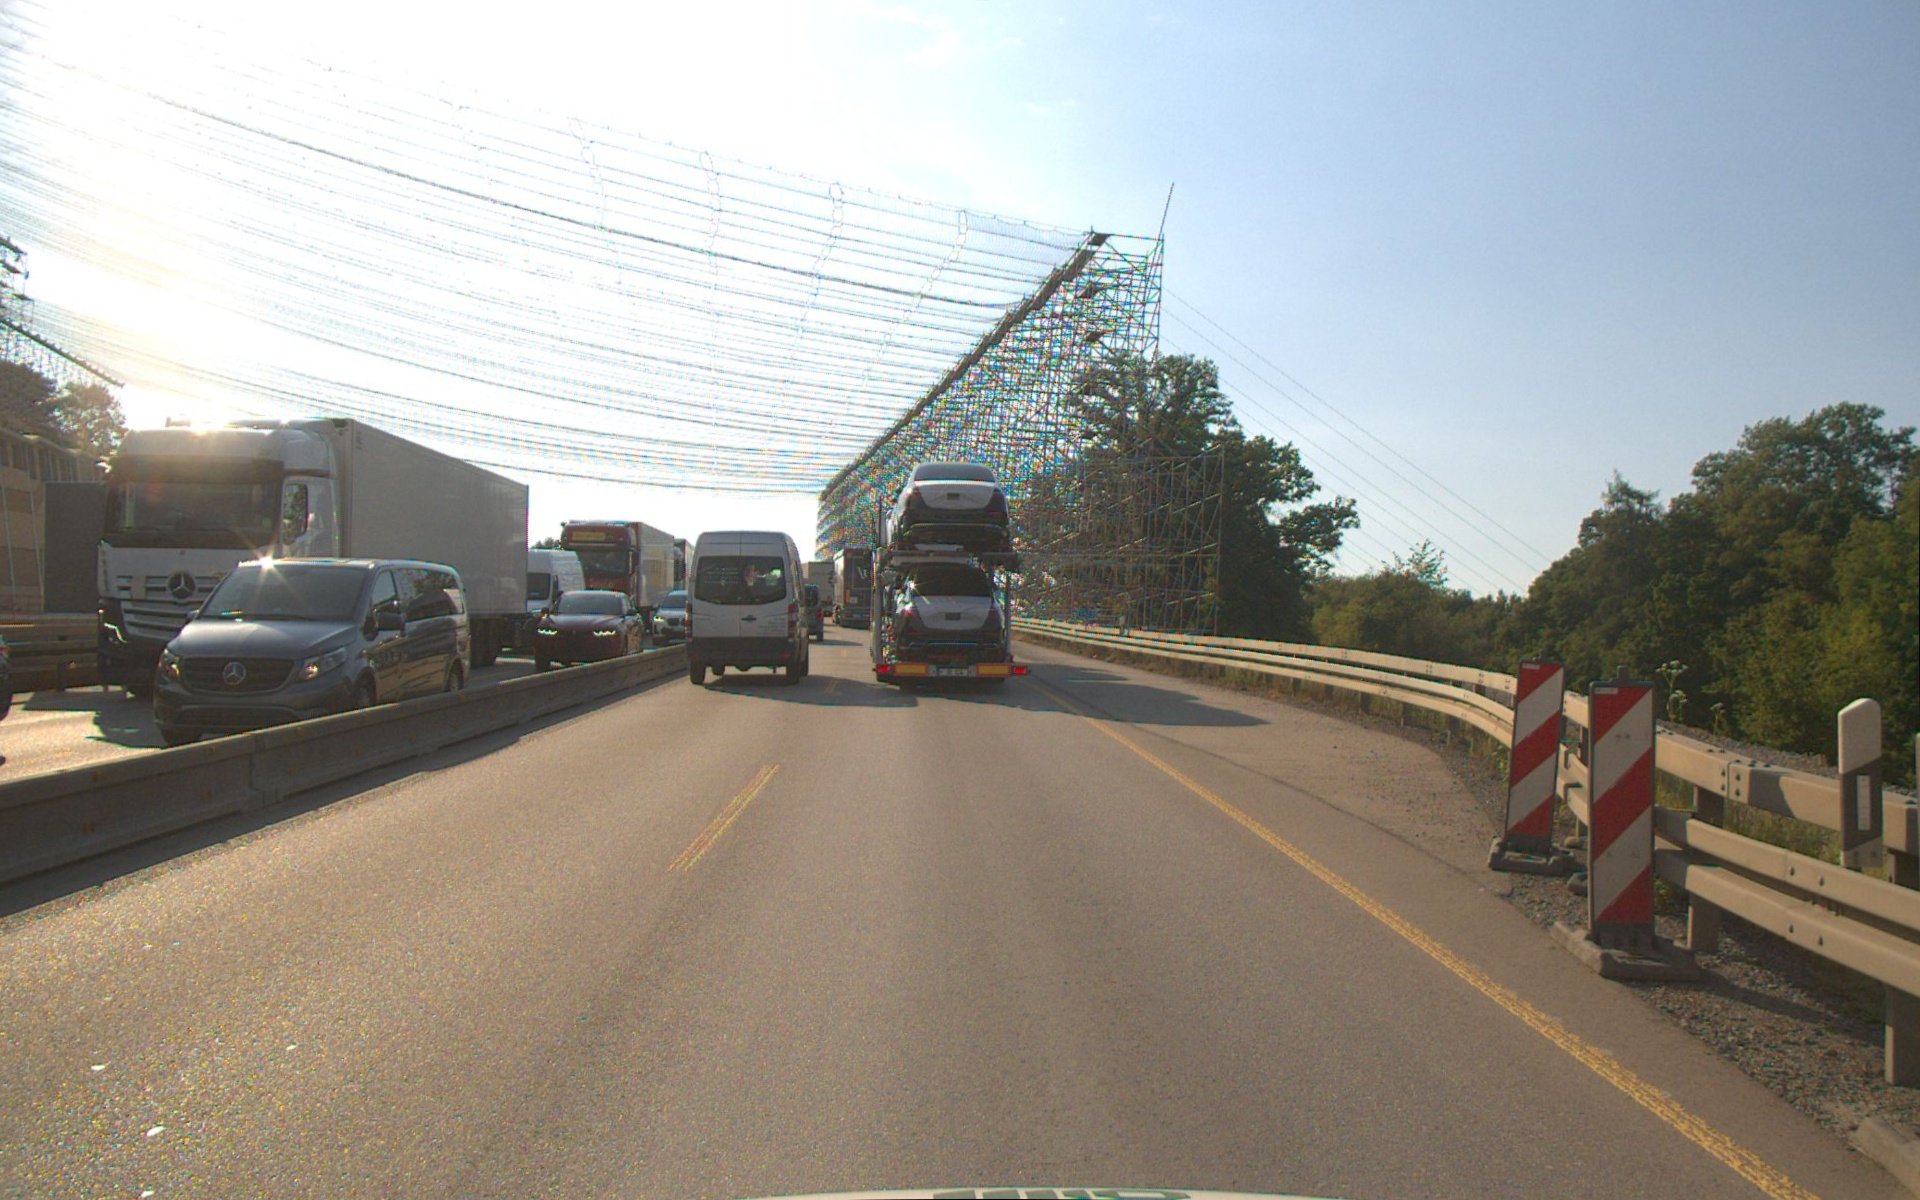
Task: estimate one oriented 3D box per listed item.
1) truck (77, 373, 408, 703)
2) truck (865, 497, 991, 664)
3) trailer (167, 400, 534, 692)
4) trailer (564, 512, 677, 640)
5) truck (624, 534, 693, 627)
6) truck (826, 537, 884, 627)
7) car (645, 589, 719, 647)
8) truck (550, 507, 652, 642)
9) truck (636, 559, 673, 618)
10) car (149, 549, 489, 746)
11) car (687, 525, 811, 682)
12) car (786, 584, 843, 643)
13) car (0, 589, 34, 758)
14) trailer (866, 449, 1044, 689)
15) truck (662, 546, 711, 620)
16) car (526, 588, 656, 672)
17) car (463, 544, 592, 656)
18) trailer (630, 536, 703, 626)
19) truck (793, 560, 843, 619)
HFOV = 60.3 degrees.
[{"bbox_3d":[-10.344,-0.796,24.521,2.659,4.292,5.678,1,0,-4],"label":"truck"},{"bbox_3d":[-0.910,-0.432,41.389,2.824,3.767,7.320,1,0,-3],"label":"truck"},{"bbox_3d":[-10.788,-0.776,31.396,2.667,4.292,13.738,1,0,-4],"label":"trailer"},{"bbox_3d":[-12.974,-0.803,64.359,2.712,4.409,13.865,1,0,-5],"label":"trailer"},{"bbox_3d":[-14.194,-0.865,78.252,2.734,4.214,5.925,1,0,-6],"label":"truck"},{"bbox_3d":[-5.592,-0.946,89.617,2.677,4.462,11.516,2,0,-2],"label":"truck"},{"bbox_3d":[-8.892,0.542,53.264,1.832,1.616,4.800,3,1,-4],"label":"car"},{"bbox_3d":[-12.293,-0.831,57.068,2.692,4.375,5.927,1,0,-5],"label":"truck"},{"bbox_3d":[-23.346,-0.860,126.421,2.615,4.304,6.087,1,0,-12],"label":"truck"},{"bbox_3d":[-6.722,0.389,18.087,1.768,1.803,5.451,1,1,-2],"label":"car"},{"bbox_3d":[-3.755,0.073,30.073,1.917,2.667,3.998,0,-1,-3],"label":"car"},{"bbox_3d":[-5.310,0.499,60.343,1.955,2.049,3.995,1,-1,-6],"label":"car"},{"bbox_3d":[-9.259,0.631,12.721,1.708,1.486,4.712,1,0,-2],"label":"car"},{"bbox_3d":[-0.497,-0.458,33.812,2.812,3.790,14.937,1,0,-3],"label":"trailer"},{"bbox_3d":[-16.182,-0.955,97.936,2.736,4.214,6.664,1,0,-9],"label":"truck"},{"bbox_3d":[-7.708,0.582,34.955,1.850,1.595,4.453,2,1,-2],"label":"car"},{"bbox_3d":[-11.608,-0.052,44.934,1.982,2.737,6.945,2,1,-3],"label":"car"},{"bbox_3d":[-14.925,-0.859,84.962,2.745,4.214,13.947,1,0,-6],"label":"trailer"},{"bbox_3d":[-11.183,-0.834,131.316,3.615,4.294,13.656,-2,1,-4],"label":"truck"}]
